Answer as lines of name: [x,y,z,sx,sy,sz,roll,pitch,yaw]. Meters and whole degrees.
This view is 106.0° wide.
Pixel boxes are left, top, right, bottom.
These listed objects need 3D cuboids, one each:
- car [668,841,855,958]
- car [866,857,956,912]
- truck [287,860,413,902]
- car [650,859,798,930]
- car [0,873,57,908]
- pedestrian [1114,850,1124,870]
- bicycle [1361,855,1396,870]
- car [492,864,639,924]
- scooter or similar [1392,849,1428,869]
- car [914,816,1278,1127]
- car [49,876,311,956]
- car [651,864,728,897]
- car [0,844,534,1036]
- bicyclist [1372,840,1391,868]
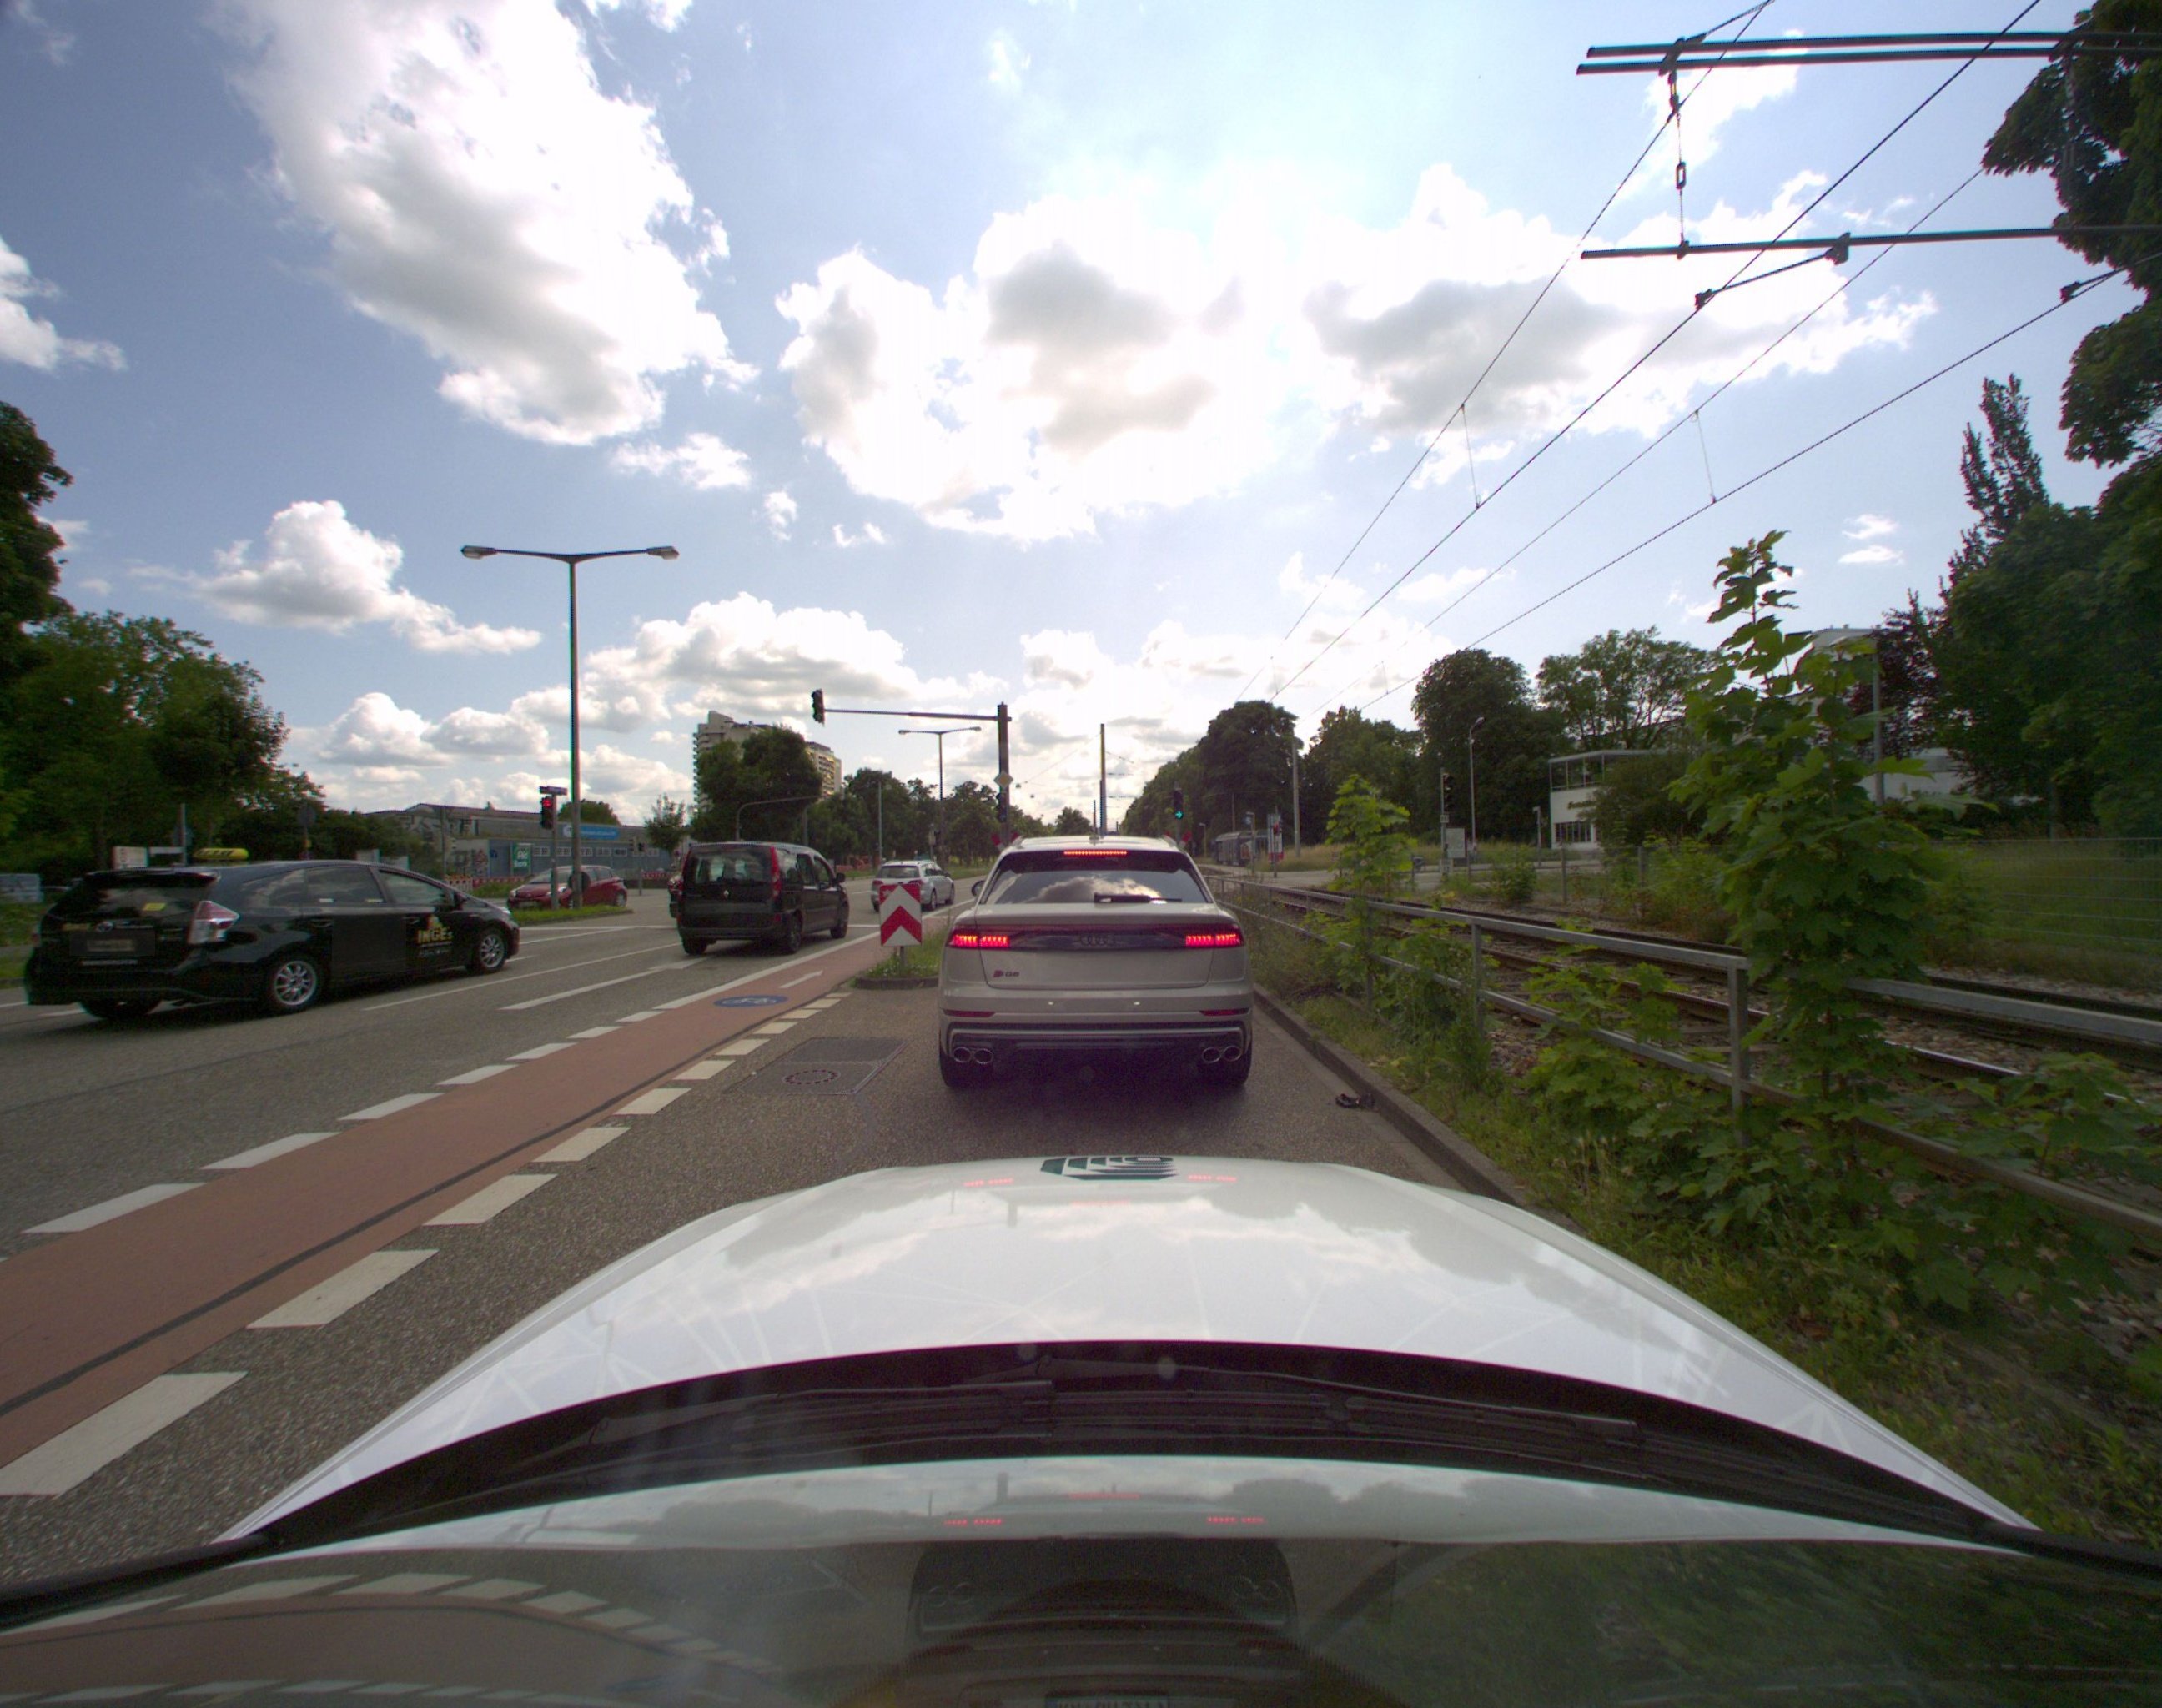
car: [-5.407,0.708,14.357,1.754,1.777,3.908,0,-1,0]
car: [-5.077,0.875,24.861,1.779,1.525,4.301,0,-1,1]
truck: [-47.489,1.745,52.951,6.906,2.439,3.054,-2,0,19]
car: [-8.436,0.892,19.652,1.859,1.504,3.998,0,-1,-1]
car: [-58.427,1.966,44.511,3.578,1.793,1.946,-1,-1,18]
pedestrian: [3.051,0.469,64.993,0.653,1.513,0.716,-2,0,-8]
bicycle: [16.160,0.456,44.247,1.714,0.765,0.556,-1,-1,3]
car: [-15.780,1.154,25.208,1.988,1.618,3.998,-2,0,-1]
scooter or similar: [17.829,0.263,44.213,1.568,0.979,0.963,-2,-1,3]
car: [0.149,0.661,6.737,1.974,1.684,4.576,0,-1,2]
car: [-18.877,1.227,17.328,1.607,1.445,3.591,0,-1,-1]
car: [-19.175,1.272,40.056,1.881,1.512,3.998,0,-1,-1]
car: [-8.633,0.772,9.348,1.780,1.668,4.339,0,-1,0]
bicyclist: [16.334,0.004,44.284,0.835,1.475,0.456,-2,-1,3]
